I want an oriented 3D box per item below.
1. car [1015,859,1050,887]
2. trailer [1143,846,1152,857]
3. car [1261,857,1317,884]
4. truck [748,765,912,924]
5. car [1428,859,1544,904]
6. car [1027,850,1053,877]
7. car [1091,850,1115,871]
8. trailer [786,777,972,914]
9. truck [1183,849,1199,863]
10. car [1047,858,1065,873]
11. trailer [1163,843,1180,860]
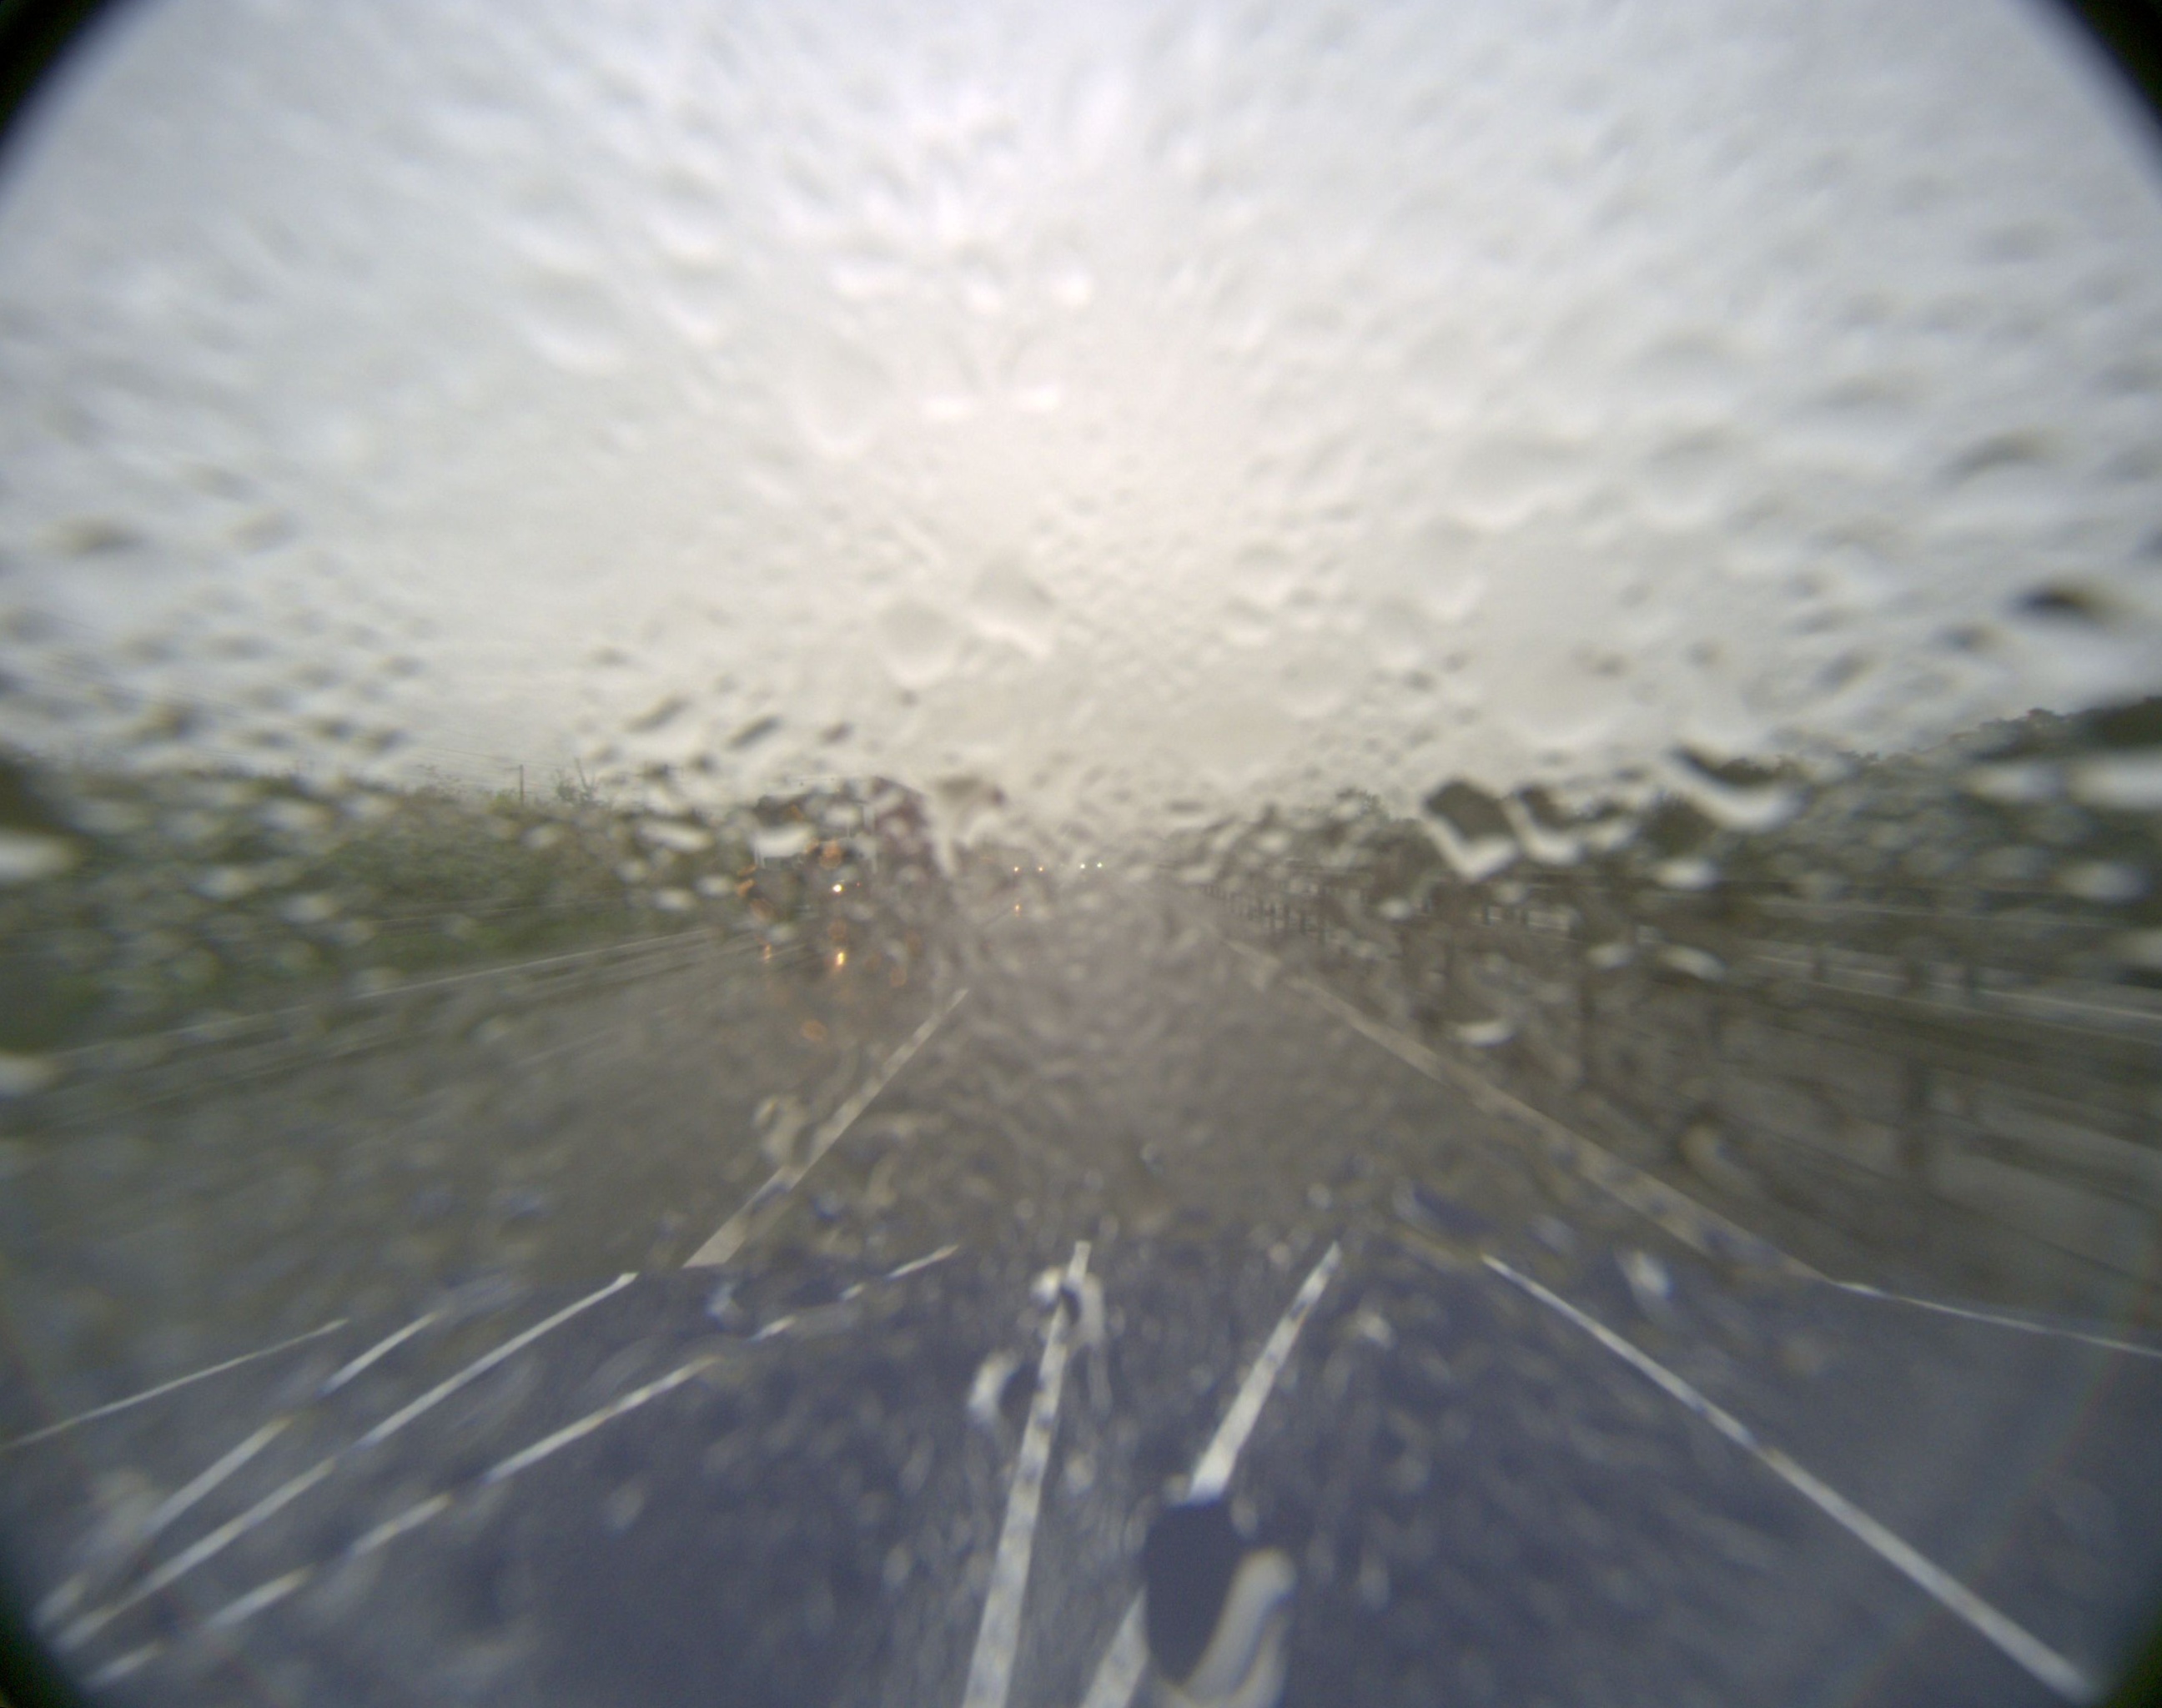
[{"bbox_3d":[-2.766,1.071,43.883,1.663,1.491,3.836,-2,0,1],"label":"car"},{"bbox_3d":[23.610,-0.936,270.617,2.301,3.782,13.611,-2,0,1],"label":"trailer"},{"bbox_3d":[12.140,0.922,44.629,1.998,1.425,4.648,-2,0,0],"label":"car"},{"bbox_3d":[-6.922,-0.240,21.969,2.457,3.866,6.199,-2,0,1],"label":"truck"},{"bbox_3d":[15.494,0.998,29.411,1.998,1.503,4.647,-2,0,0],"label":"car"},{"bbox_3d":[-2.628,0.600,49.318,1.517,1.606,3.186,-2,0,0],"label":"car"},{"bbox_3d":[1.867,0.555,65.211,1.845,1.671,4.000,-2,0,0],"label":"car"},{"bbox_3d":[-6.840,-0.248,29.523,2.486,3.743,16.544,-2,0,1],"label":"trailer"},{"bbox_3d":[22.247,0.429,154.190,2.333,2.604,6.263,-2,0,1],"label":"truck"},{"bbox_3d":[-2.902,1.342,88.471,1.845,1.671,4.000,-2,0,0],"label":"car"},{"bbox_3d":[22.497,-0.599,189.377,2.640,3.782,13.584,-2,0,1],"label":"trailer"}]
